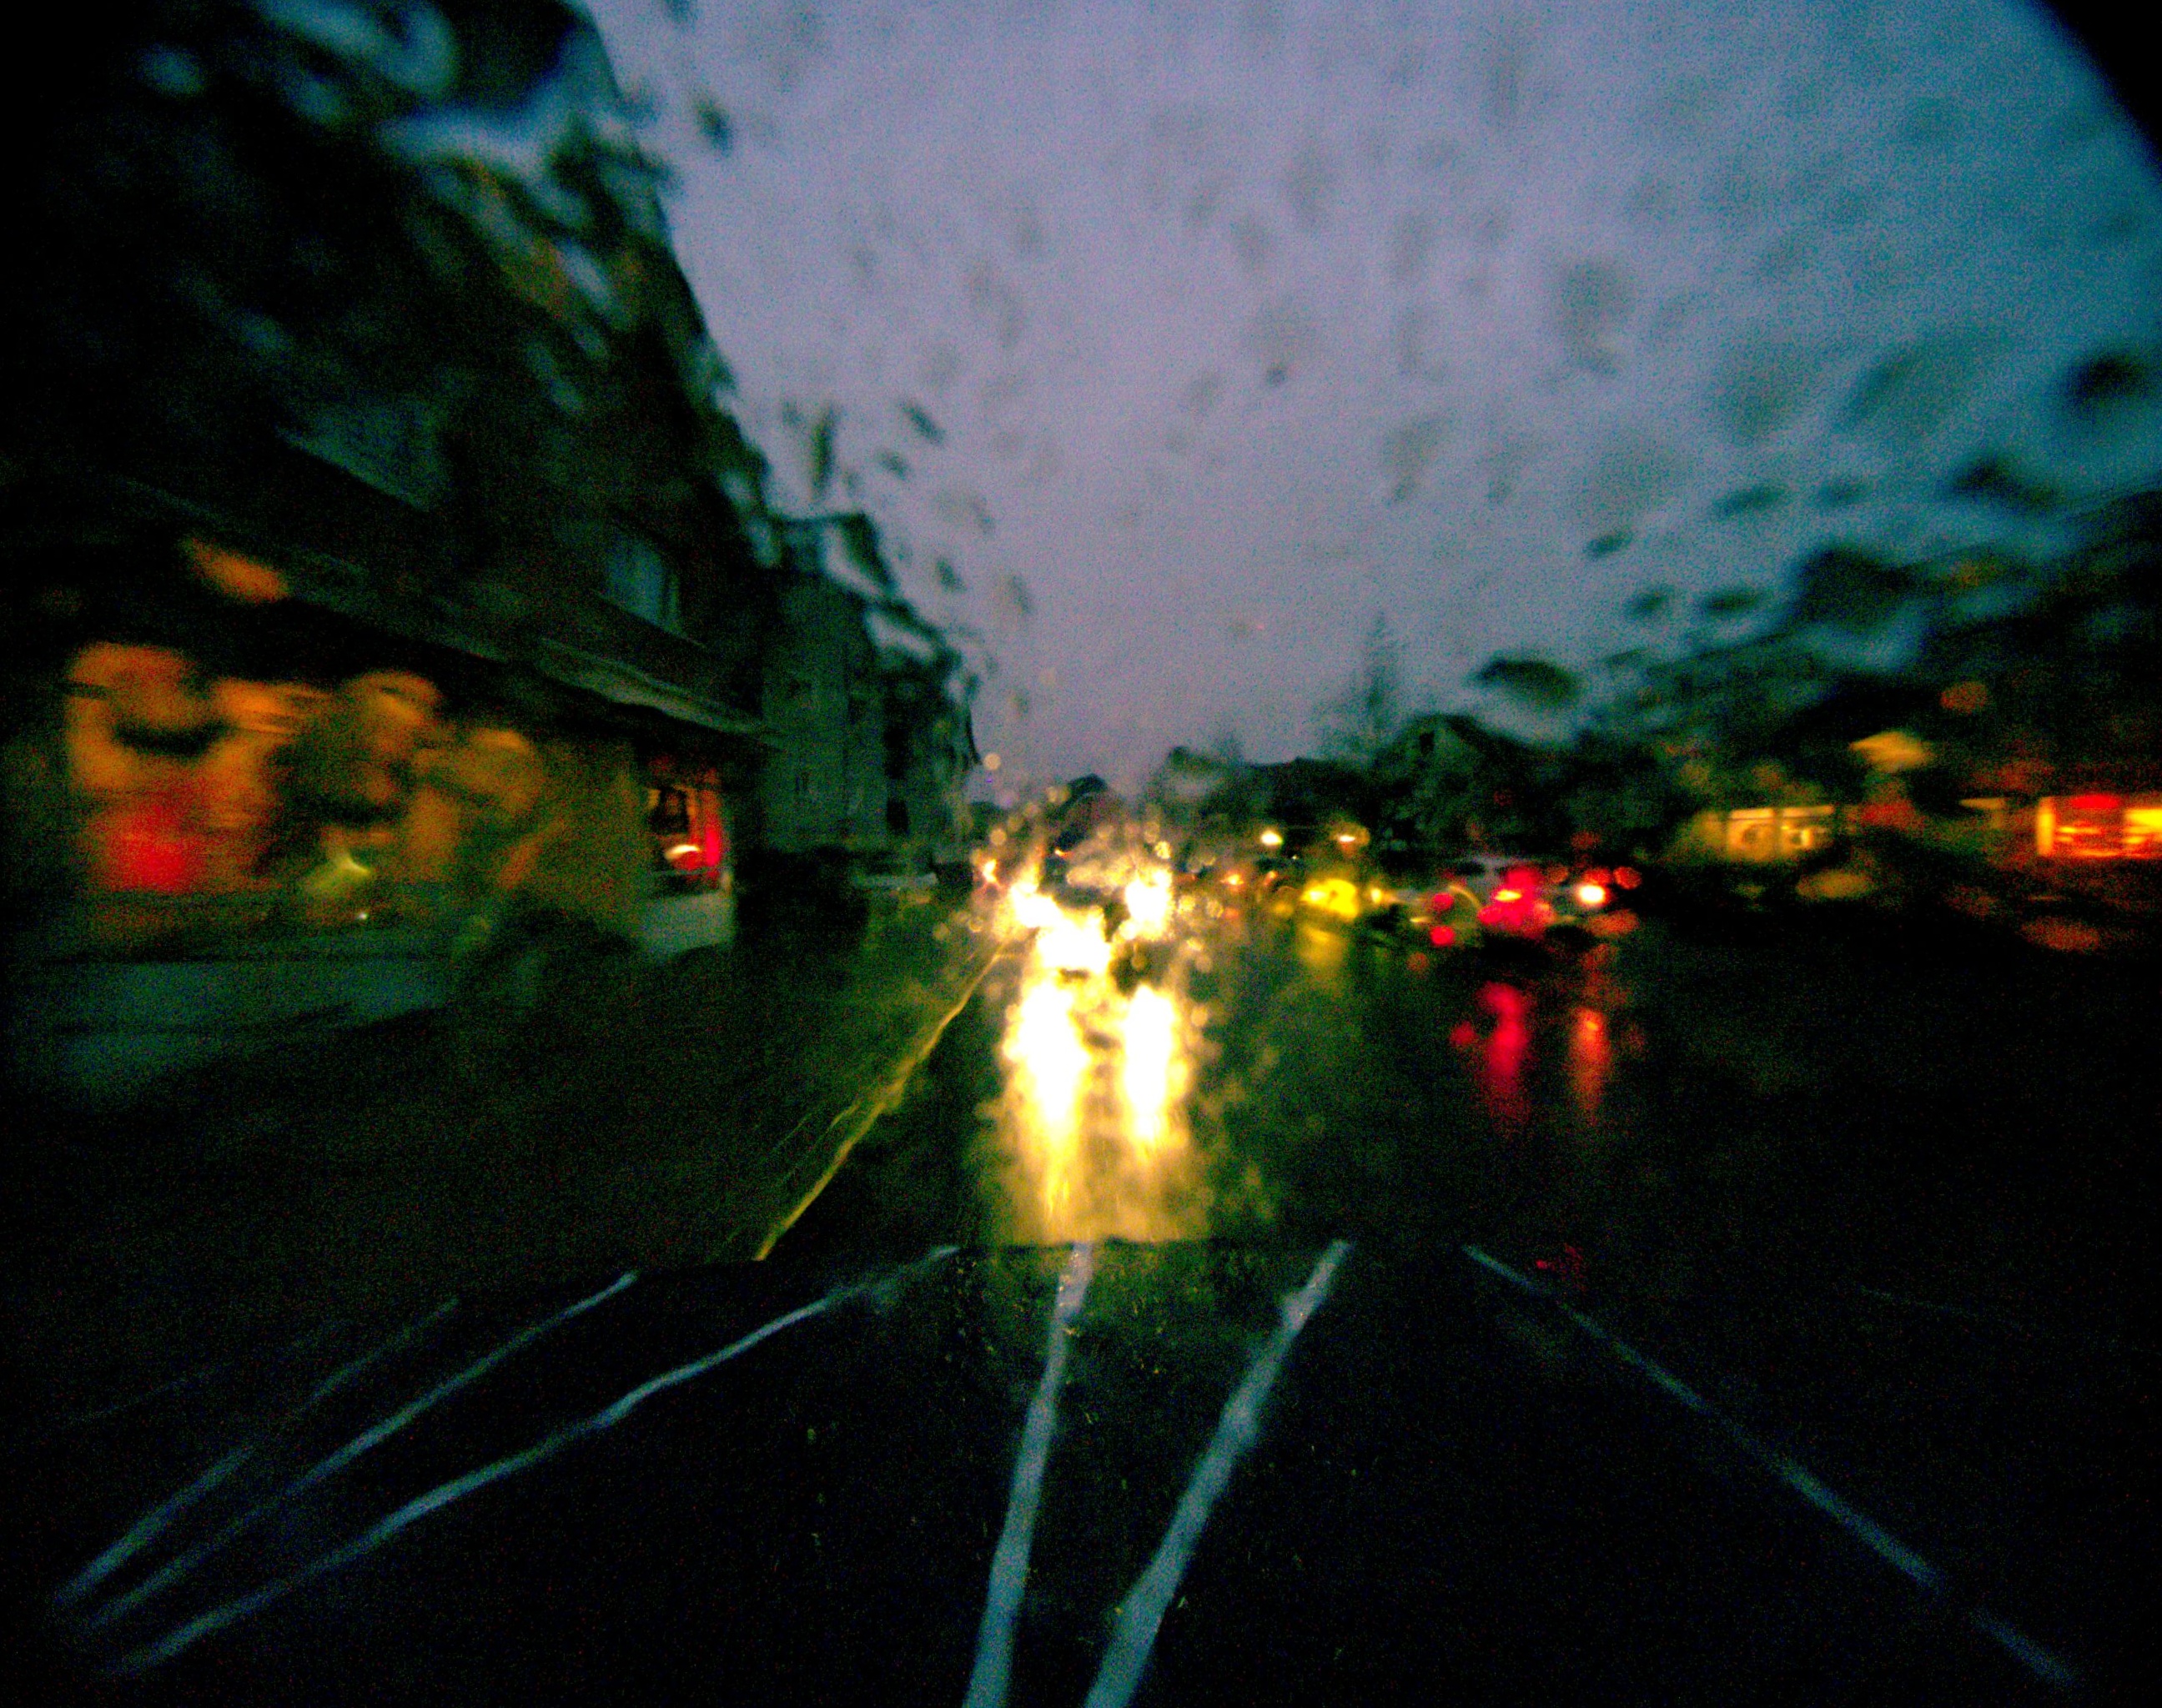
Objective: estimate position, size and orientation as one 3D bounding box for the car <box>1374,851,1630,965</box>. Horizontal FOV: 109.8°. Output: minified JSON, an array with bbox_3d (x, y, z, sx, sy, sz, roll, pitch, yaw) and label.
[{"bbox_3d":[6.575,0.731,12.491,1.789,1.480,4.181,-2,1,-1],"label":"car"}]

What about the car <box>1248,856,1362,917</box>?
[{"bbox_3d":[5.969,0.809,20.778,1.699,1.423,4.376,-2,0,-1],"label":"car"}]

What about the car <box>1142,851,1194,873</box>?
[{"bbox_3d":[6.705,0.586,58.677,3.840,1.537,2.001,-2,0,6],"label":"car"}]

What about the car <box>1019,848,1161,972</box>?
[{"bbox_3d":[0.085,0.800,13.025,1.999,1.720,3.999,-2,0,-2],"label":"car"}]

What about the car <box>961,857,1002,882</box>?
[{"bbox_3d":[-7.904,1.222,59.911,2.002,1.844,3.992,-3,0,-25],"label":"car"}]

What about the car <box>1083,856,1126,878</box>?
[{"bbox_3d":[1.631,0.882,54.605,1.984,1.438,3.908,-2,0,-15],"label":"car"}]

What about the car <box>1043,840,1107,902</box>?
[{"bbox_3d":[-0.301,0.570,27.868,1.999,2.002,3.998,-2,0,-4],"label":"car"}]

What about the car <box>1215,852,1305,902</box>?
[{"bbox_3d":[6.066,0.729,26.168,1.880,1.526,3.670,-2,0,-6],"label":"car"}]

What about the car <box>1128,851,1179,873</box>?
[{"bbox_3d":[5.877,0.652,61.311,3.994,1.538,2.001,-2,0,9],"label":"car"}]

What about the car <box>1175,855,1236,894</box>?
[{"bbox_3d":[5.443,0.859,33.721,1.840,1.526,4.138,-2,0,-2],"label":"car"}]

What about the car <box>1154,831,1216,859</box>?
[{"bbox_3d":[7.038,-0.591,51.281,3.993,1.753,1.434,-2,1,11],"label":"car"}]

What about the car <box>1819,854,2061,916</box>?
[{"bbox_3d":[23.540,0.775,21.082,2.000,1.555,3.997,0,0,-9],"label":"car"}]

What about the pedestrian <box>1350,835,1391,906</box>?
[{"bbox_3d":[8.329,0.475,21.892,0.902,2.002,0.791,-1,0,8],"label":"pedestrian"}]

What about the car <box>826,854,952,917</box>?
[{"bbox_3d":[-5.413,0.835,22.181,1.933,1.477,4.698,-2,1,7],"label":"car"}]

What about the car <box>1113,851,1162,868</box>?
[{"bbox_3d":[4.747,0.449,64.240,3.996,1.291,2.000,-2,0,4],"label":"car"}]
